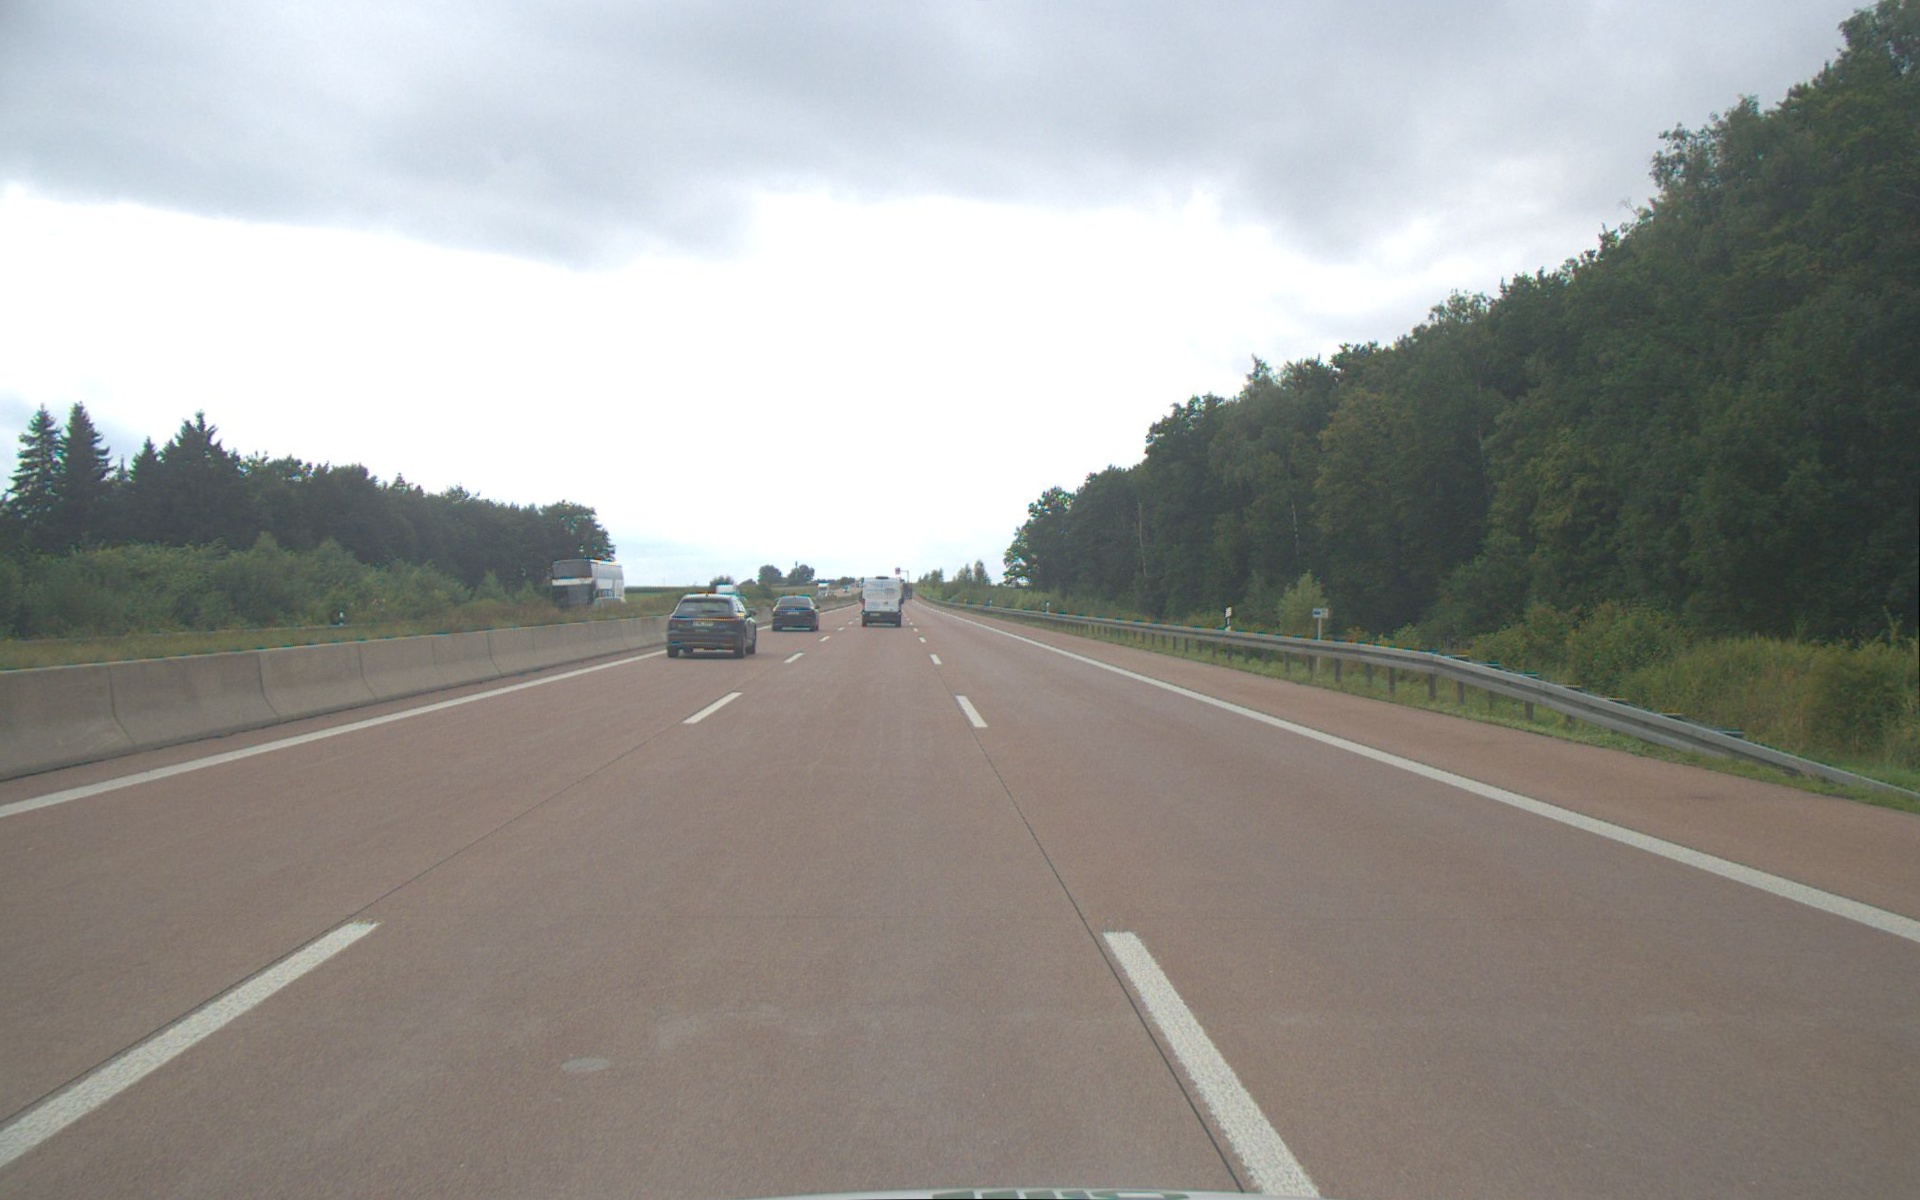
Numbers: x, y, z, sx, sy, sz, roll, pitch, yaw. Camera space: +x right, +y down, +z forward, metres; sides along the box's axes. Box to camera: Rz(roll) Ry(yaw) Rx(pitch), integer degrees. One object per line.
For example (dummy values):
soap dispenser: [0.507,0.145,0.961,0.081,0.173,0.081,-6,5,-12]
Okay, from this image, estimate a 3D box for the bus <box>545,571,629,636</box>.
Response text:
bus: [-24.367,0.178,108.943,2.988,3.956,14.353,1,0,-3]

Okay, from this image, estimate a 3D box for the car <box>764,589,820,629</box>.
car: [-7.130,0.338,70.650,2.043,1.577,5.671,1,1,-3]

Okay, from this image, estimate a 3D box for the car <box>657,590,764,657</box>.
car: [-6.074,0.525,40.829,2.018,1.517,5.450,1,0,-3]

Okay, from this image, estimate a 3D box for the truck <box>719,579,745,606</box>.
truck: [-27.852,-0.901,201.910,2.310,3.153,7.478,2,0,-2]

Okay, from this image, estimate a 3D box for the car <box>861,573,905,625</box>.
car: [-3.908,-0.094,84.987,2.094,2.550,7.129,0,1,-2]
